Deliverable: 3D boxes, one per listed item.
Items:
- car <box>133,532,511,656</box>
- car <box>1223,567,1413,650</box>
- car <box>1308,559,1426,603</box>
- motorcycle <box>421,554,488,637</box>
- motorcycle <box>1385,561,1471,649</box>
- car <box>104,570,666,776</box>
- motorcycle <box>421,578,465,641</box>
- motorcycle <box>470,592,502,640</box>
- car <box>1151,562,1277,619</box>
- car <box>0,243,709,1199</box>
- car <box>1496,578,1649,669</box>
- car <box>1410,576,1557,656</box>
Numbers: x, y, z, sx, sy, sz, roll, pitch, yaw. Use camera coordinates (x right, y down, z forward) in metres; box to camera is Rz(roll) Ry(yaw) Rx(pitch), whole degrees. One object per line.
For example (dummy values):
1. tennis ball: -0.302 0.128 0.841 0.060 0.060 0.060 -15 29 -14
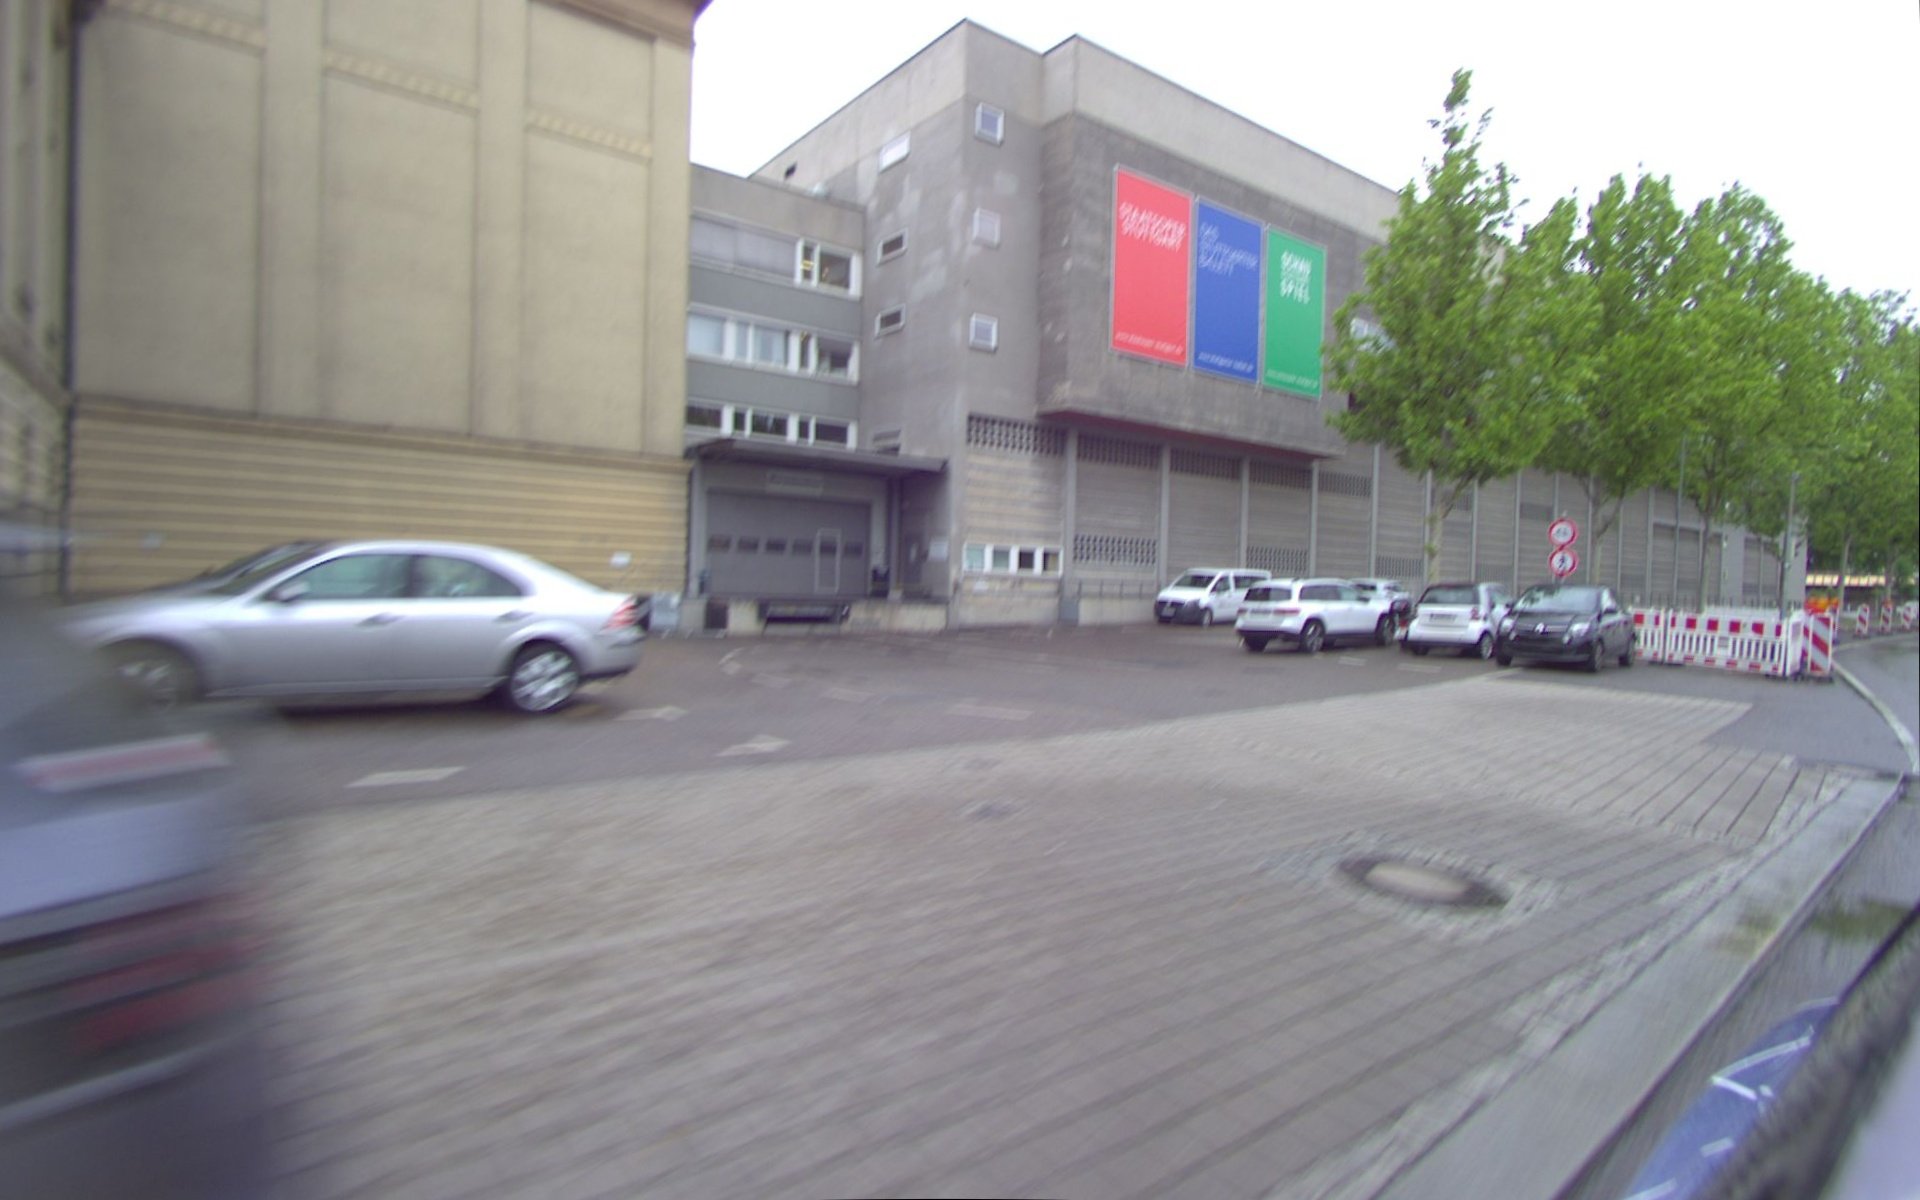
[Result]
1. car: -9.143 -0.087 14.757 4.425 1.559 1.824 1 2 -38
2. car: 8.540 0.145 24.026 4.406 1.704 1.962 -3 1 -33
3. car: 15.663 -0.759 39.091 1.746 1.599 3.848 0 2 -38
4. motorcycle: -10.026 -0.084 20.038 0.834 1.565 1.977 2 -1 -36
5. motorcycle: 10.709 0.093 23.112 2.544 1.928 0.750 -1 0 -40
6. car: -4.838 0.480 8.901 4.053 1.428 1.524 0 2 -39
7. motorcycle: -12.259 0.200 23.972 0.721 1.384 1.667 0 2 -34
8. motorcycle: -11.689 0.376 24.926 0.471 1.082 1.667 0 2 -34
9. car: 8.826 -0.343 34.936 4.799 1.809 1.777 0 2 -41
10. car: -2.554 0.503 0.478 4.324 1.639 1.876 1 2 -39
11. car: 11.444 0.357 18.827 1.687 1.513 3.564 1 2 44
12. car: 11.135 0.290 21.503 2.965 1.556 1.586 0 2 -36
